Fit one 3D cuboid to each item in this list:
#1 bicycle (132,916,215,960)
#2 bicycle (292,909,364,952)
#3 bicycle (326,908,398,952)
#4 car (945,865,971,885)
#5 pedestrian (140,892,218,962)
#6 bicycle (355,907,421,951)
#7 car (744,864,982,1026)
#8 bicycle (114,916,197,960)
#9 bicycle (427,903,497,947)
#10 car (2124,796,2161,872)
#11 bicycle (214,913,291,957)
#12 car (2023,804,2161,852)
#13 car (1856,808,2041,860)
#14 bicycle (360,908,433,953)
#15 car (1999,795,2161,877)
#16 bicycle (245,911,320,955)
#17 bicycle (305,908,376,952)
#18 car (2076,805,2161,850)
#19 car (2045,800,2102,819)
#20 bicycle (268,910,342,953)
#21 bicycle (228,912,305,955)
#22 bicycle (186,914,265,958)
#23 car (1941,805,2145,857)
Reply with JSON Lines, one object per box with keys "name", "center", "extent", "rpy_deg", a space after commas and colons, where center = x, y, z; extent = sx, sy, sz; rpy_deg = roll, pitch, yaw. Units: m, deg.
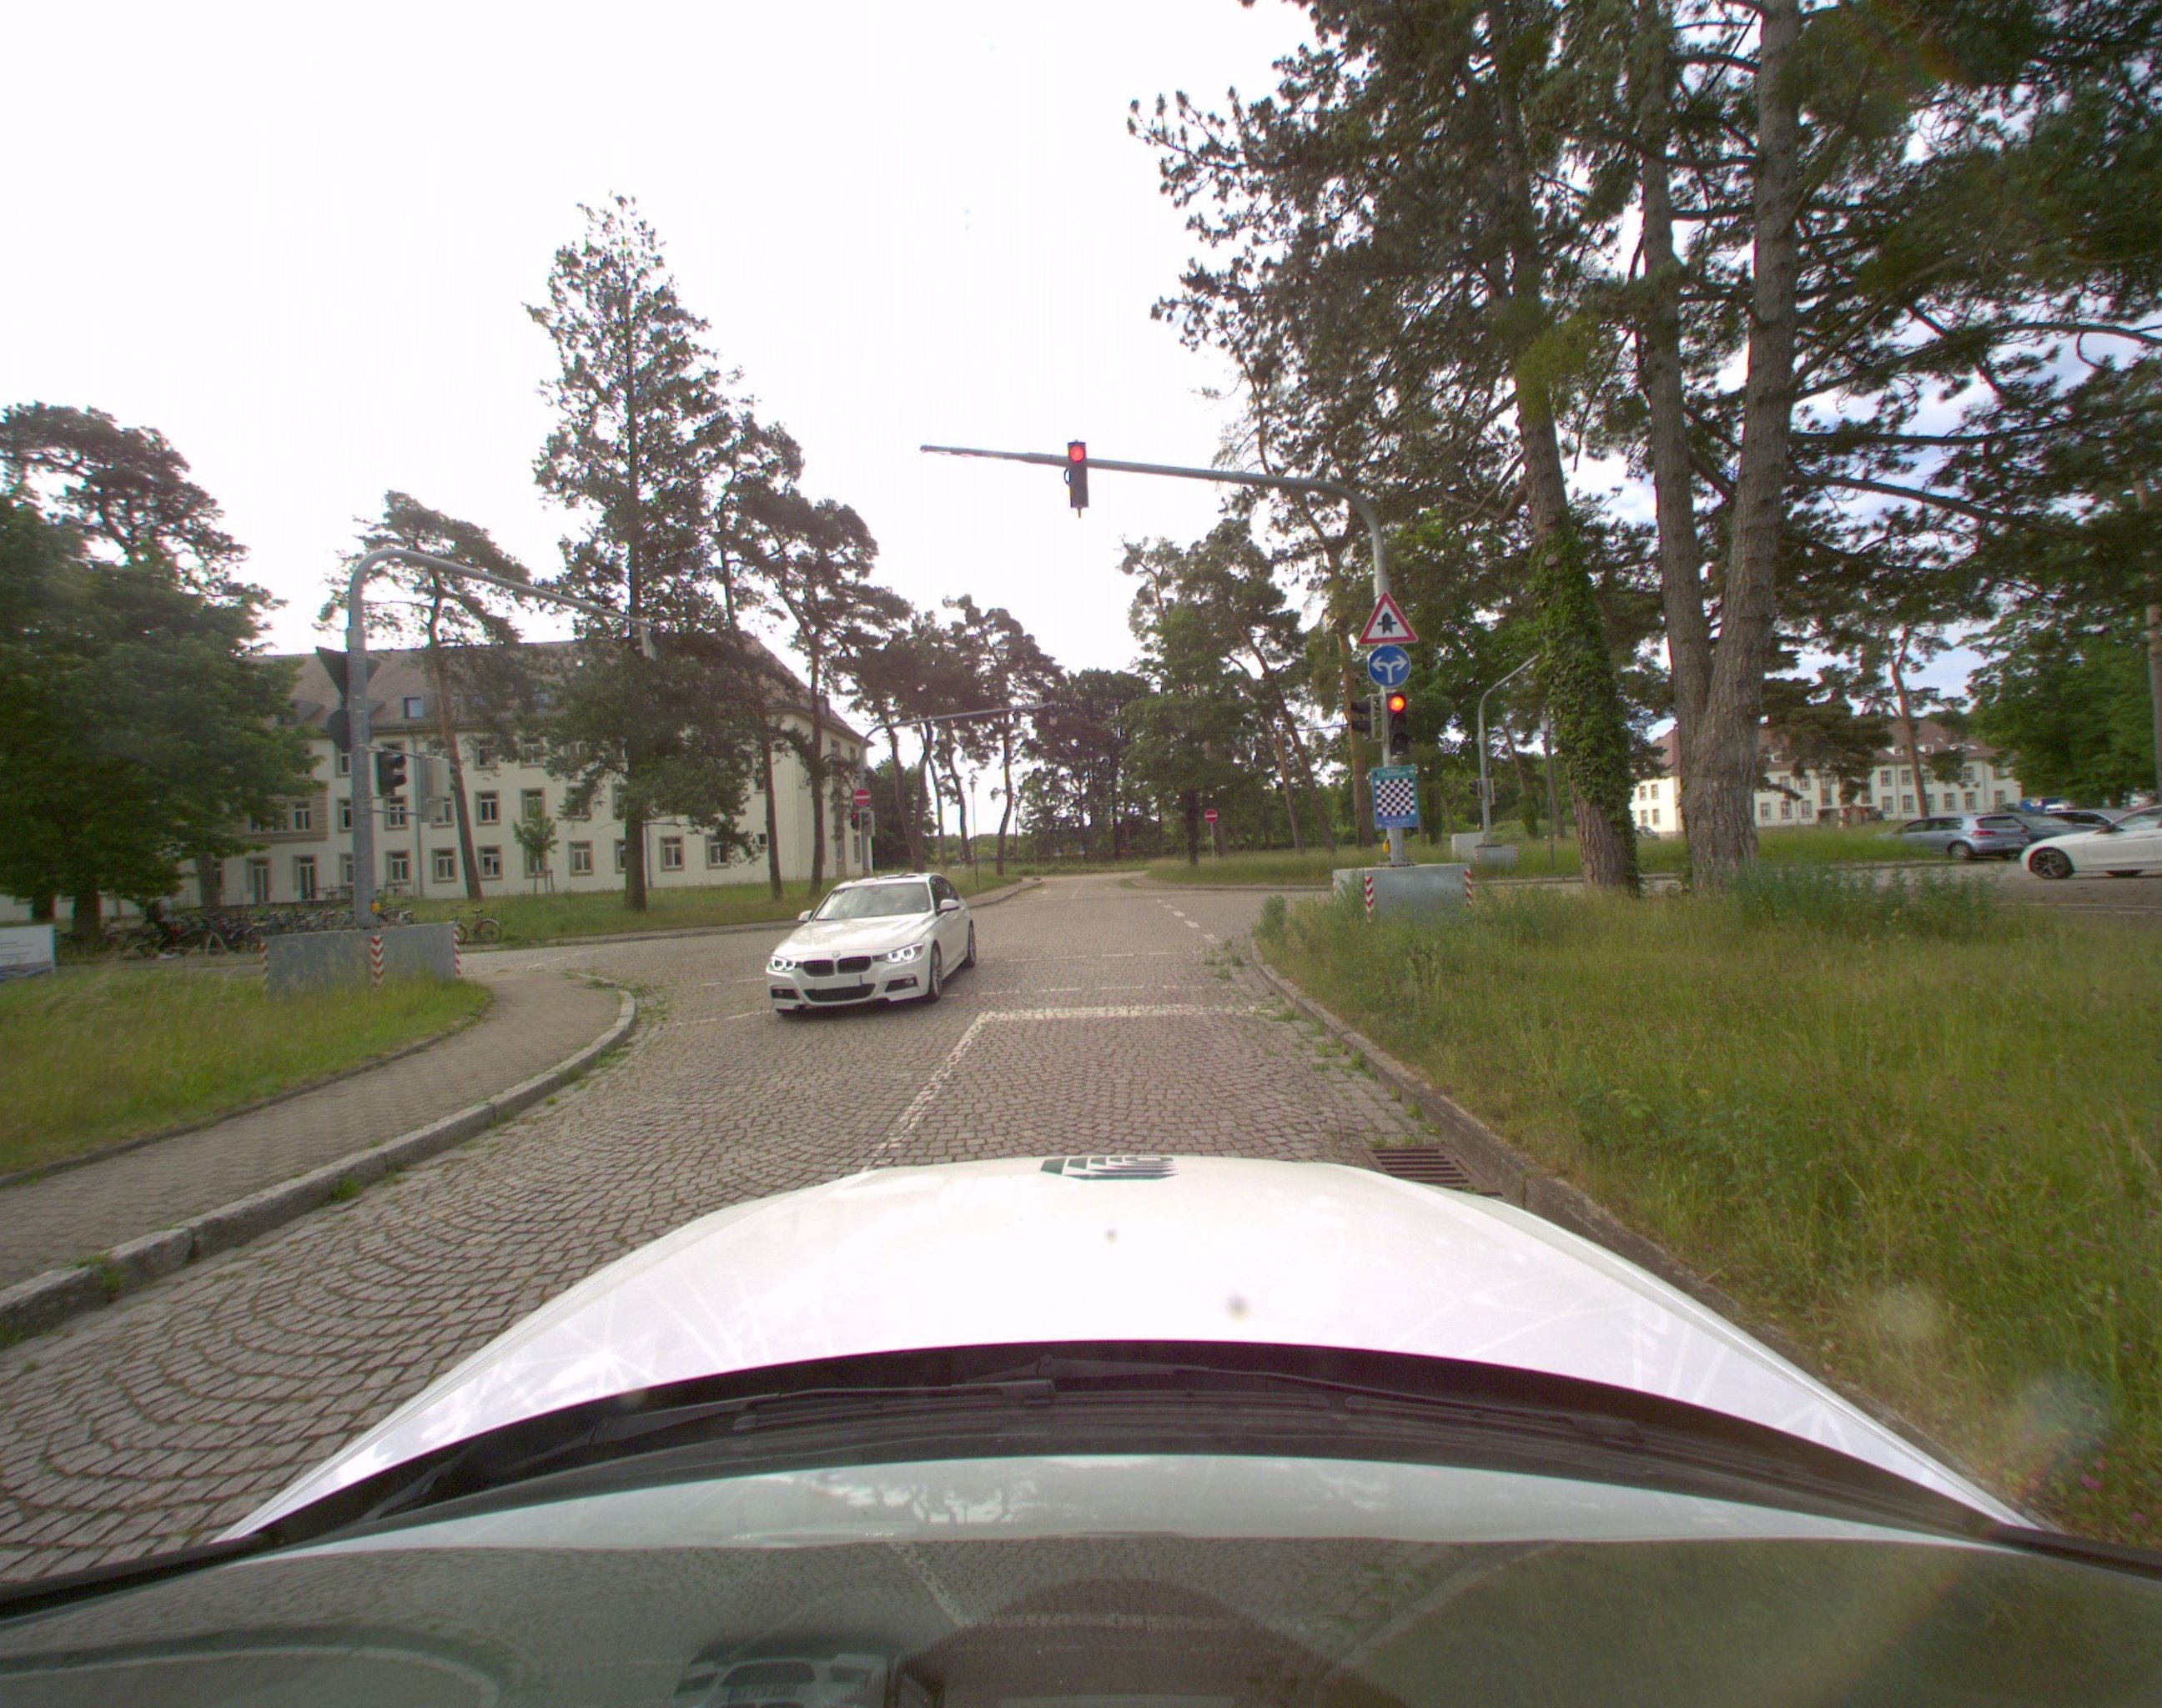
{"name": "bicycle", "center": [-26.025, 2.377, 23.386], "extent": [0.512, 1.079, 1.586], "rpy_deg": [-3, -1, 1]}
{"name": "bicycle", "center": [-21.615, 2.176, 23.420], "extent": [0.512, 1.079, 1.586], "rpy_deg": [-3, -1, 1]}
{"name": "bicycle", "center": [-20.552, 2.148, 23.319], "extent": [0.512, 1.079, 1.587], "rpy_deg": [-3, -1, 4]}
{"name": "car", "center": [-12.006, 2.048, 79.963], "extent": [1.988, 1.846, 3.997], "rpy_deg": [-1, -1, -2]}
{"name": "pedestrian", "center": [-25.125, 2.007, 22.699], "extent": [1.050, 1.788, 1.165], "rpy_deg": [-3, 1, 29]}
{"name": "bicycle", "center": [-19.874, 2.132, 23.405], "extent": [0.513, 1.079, 1.584], "rpy_deg": [-3, -1, -2]}
{"name": "car", "center": [-2.483, 0.948, 10.419], "extent": [1.768, 1.438, 4.217], "rpy_deg": [-6, 0, 0]}
{"name": "bicycle", "center": [-26.526, 2.390, 23.378], "extent": [0.512, 1.079, 1.586], "rpy_deg": [-3, -1, 1]}
{"name": "bicycle", "center": [-16.849, 1.938, 22.178], "extent": [1.460, 1.065, 0.516], "rpy_deg": [-3, -1, -1]}
{"name": "car", "center": [23.901, -0.553, 15.780], "extent": [1.777, 1.605, 4.240], "rpy_deg": [-3, -3, -2]}
{"name": "bicycle", "center": [-23.703, 2.295, 23.345], "extent": [0.512, 1.079, 1.586], "rpy_deg": [-3, -1, 1]}
{"name": "car", "center": [33.977, -0.834, 26.623], "extent": [1.725, 1.468, 4.252], "rpy_deg": [-3, 0, 7]}
{"name": "car", "center": [28.614, -0.616, 27.095], "extent": [1.727, 1.509, 4.246], "rpy_deg": [-3, 0, 2]}
{"name": "bicycle", "center": [-18.484, 2.053, 22.016], "extent": [1.460, 1.079, 0.516], "rpy_deg": [-3, -1, -1]}
{"name": "car", "center": [21.267, -0.379, 15.683], "extent": [1.843, 1.487, 4.605], "rpy_deg": [-2, -3, -2]}
{"name": "bicycle", "center": [-22.867, 2.241, 23.356], "extent": [0.512, 1.079, 1.586], "rpy_deg": [-3, -1, 1]}
{"name": "bicycle", "center": [-21.254, 2.167, 23.414], "extent": [0.512, 1.079, 1.586], "rpy_deg": [-3, -1, 1]}
{"name": "car", "center": [36.354, -0.895, 27.036], "extent": [1.725, 1.468, 4.252], "rpy_deg": [-3, 0, 7]}
{"name": "car", "center": [109.768, -4.931, 90.085], "extent": [4.049, 1.905, 1.927], "rpy_deg": [-1, -1, -2]}
{"name": "bicycle", "center": [-22.246, 2.203, 23.375], "extent": [0.512, 1.079, 1.586], "rpy_deg": [-3, -1, 1]}
{"name": "bicycle", "center": [-23.319, 2.255, 23.351], "extent": [0.512, 1.079, 1.586], "rpy_deg": [-3, -1, 1]}
{"name": "bicycle", "center": [-24.498, 2.332, 23.347], "extent": [0.512, 1.079, 1.586], "rpy_deg": [-3, -1, 1]}
{"name": "car", "center": [31.227, -0.696, 26.653], "extent": [1.727, 1.468, 4.246], "rpy_deg": [-3, 0, 2]}
